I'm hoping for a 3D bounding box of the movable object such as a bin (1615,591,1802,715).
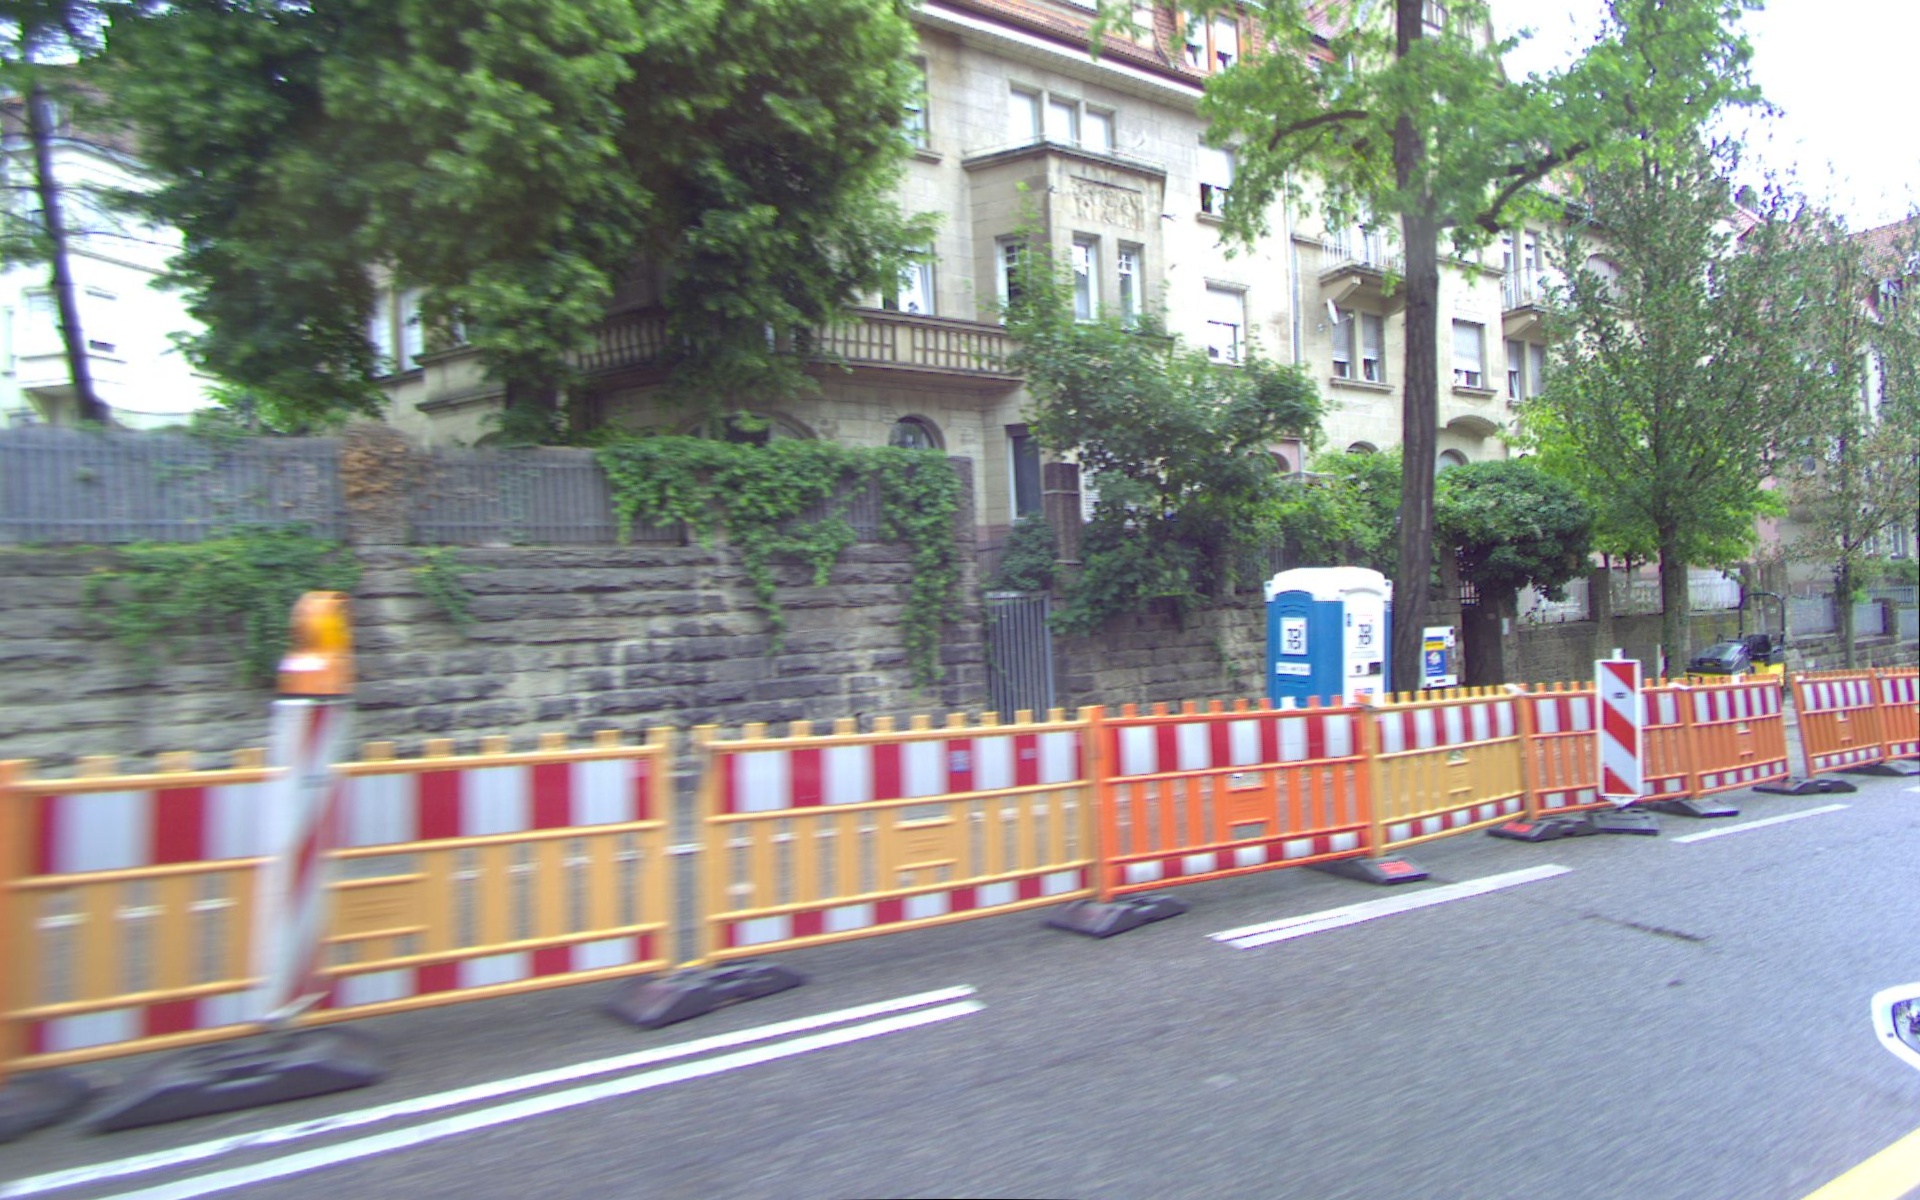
[{"bbox_3d":[15.219,1.049,20.454,2.779,2.329,1.987,0,-2,-27],"label":"movable object such as a bin"}]
